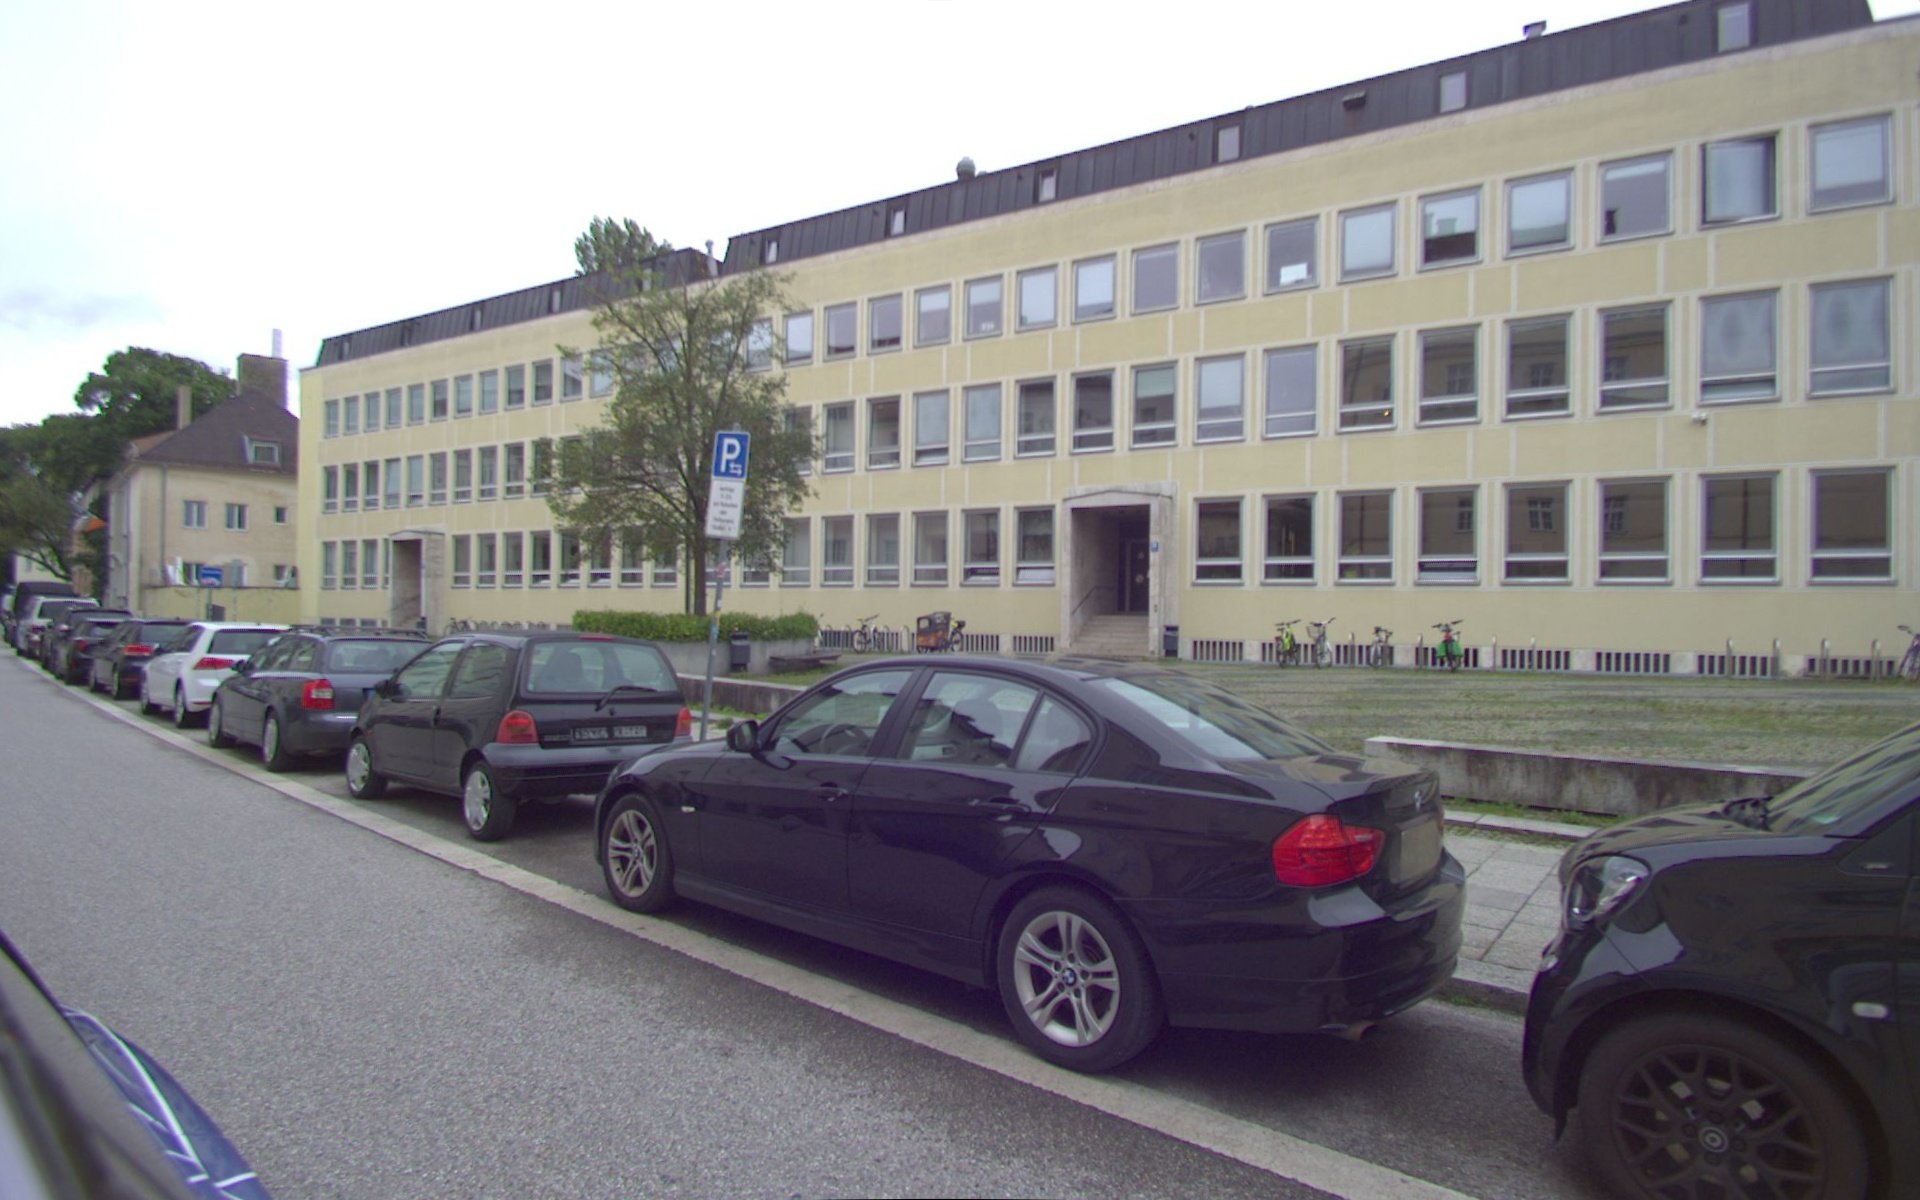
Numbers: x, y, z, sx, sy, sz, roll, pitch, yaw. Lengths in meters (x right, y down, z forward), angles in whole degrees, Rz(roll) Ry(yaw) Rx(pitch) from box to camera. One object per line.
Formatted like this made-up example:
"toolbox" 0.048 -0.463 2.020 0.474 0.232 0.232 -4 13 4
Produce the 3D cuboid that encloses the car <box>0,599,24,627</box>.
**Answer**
"car" -88.259 1.225 94.069 1.854 2.573 4.374 1 -1 -43

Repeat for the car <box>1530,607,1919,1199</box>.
"car" 3.138 0.805 2.324 2.974 1.513 1.653 0 -3 39

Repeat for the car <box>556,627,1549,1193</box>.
"car" 0.081 0.883 4.779 4.452 1.416 1.781 -1 -3 40

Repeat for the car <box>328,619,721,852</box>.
"car" -3.603 0.915 8.168 3.311 1.465 1.639 -1 -3 42

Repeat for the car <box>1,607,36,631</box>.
"car" -69.607 1.392 74.794 1.792 1.747 3.652 1 -1 -44

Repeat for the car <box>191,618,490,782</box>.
"car" -7.020 0.961 11.262 4.397 1.465 1.735 -1 -3 44

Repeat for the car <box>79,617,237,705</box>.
"car" -15.182 1.089 19.086 3.973 1.465 1.639 -1 -3 42

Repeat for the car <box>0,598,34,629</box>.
"car" -76.728 1.060 82.293 2.074 2.450 4.554 1 -1 -42

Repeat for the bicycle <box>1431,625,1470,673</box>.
"bicycle" 10.980 1.072 22.643 0.623 1.022 1.932 -1 -1 31

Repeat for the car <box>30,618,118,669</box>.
"car" -26.522 1.252 30.258 3.920 1.398 1.724 -1 -1 45

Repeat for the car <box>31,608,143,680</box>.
"car" -22.737 1.108 26.306 4.450 1.679 1.724 -1 -5 44

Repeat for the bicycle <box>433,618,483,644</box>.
"bicycle" -21.012 1.286 42.392 0.578 1.022 1.935 -1 0 27

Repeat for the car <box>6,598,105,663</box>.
"car" -29.998 0.984 33.498 5.022 1.994 1.907 0 -2 43

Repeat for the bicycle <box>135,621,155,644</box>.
"bicycle" -42.245 1.663 52.437 1.743 1.140 0.573 0 -1 44

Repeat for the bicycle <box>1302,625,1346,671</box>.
"bicycle" 8.628 1.103 23.960 0.623 1.022 1.932 -1 -1 31

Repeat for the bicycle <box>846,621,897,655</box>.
"bicycle" -2.725 1.166 31.338 0.622 1.022 1.935 -1 -1 28

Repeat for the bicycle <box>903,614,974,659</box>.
"bicycle" -0.600 1.051 29.789 1.052 1.258 2.419 -1 -1 28

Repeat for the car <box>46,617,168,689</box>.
"car" -19.094 1.135 22.603 3.871 1.465 1.661 -1 -3 44

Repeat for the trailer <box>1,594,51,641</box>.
"trailer" -54.040 1.022 58.606 1.790 2.555 3.394 6 -4 -40

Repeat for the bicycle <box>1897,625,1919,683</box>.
"bicycle" 18.075 0.990 18.934 0.625 1.022 1.928 -1 -1 38

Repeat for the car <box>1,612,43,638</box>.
"car" -57.900 1.527 62.458 1.743 1.525 3.845 2 -2 -44

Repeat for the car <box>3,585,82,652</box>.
"car" -39.097 0.795 43.070 2.270 2.666 5.658 3 -3 -43

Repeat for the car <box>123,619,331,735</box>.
"car" -10.934 1.056 14.994 4.072 1.465 1.639 -1 -3 42

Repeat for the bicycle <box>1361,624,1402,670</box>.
"bicycle" 9.842 1.069 23.598 0.623 1.022 1.932 -1 -1 31

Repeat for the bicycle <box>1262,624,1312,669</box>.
"bicycle" 7.857 1.101 24.272 0.624 1.022 1.930 -1 -1 34
